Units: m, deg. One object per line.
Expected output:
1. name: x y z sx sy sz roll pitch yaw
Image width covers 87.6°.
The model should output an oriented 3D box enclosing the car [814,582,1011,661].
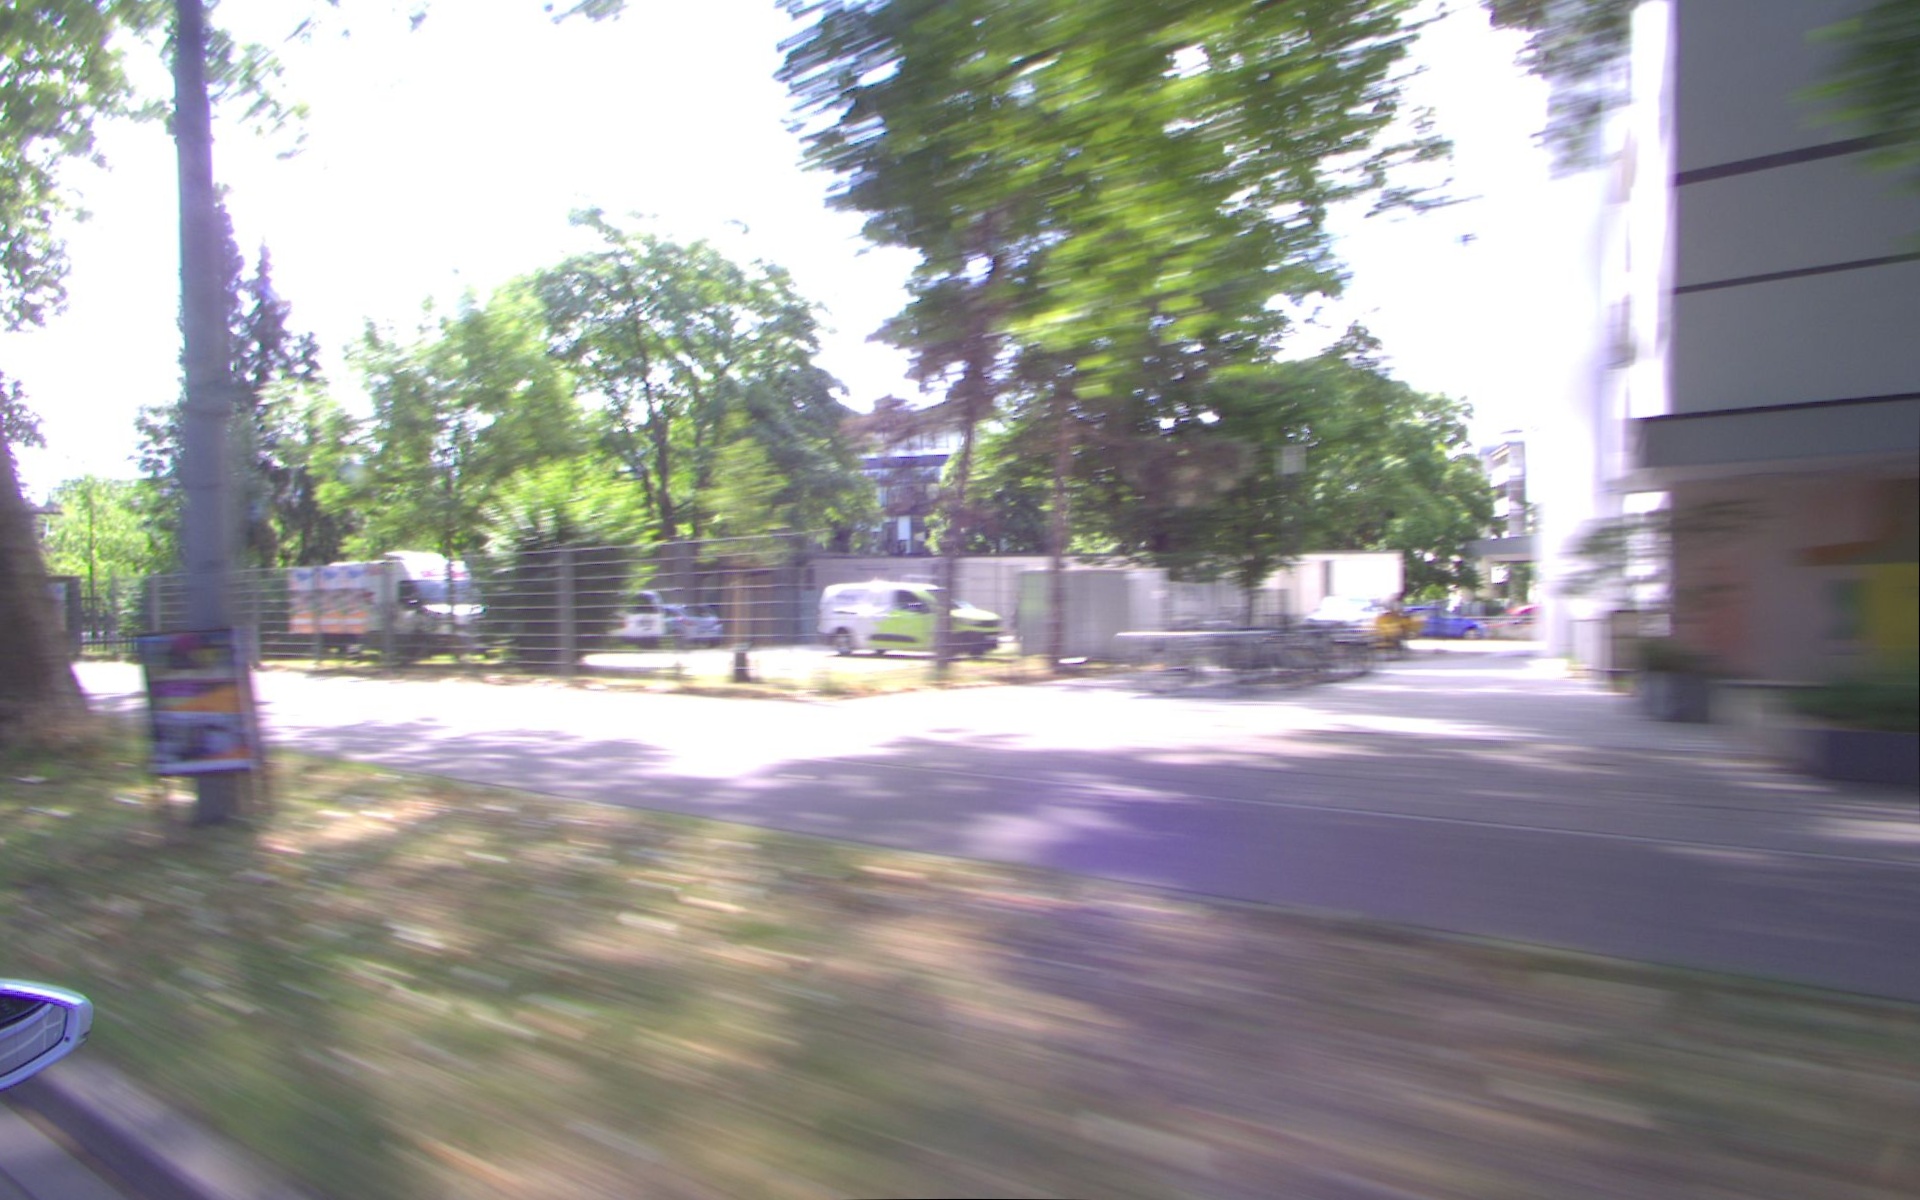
1. car: -1.227 0.526 24.706 4.702 1.778 1.734 -1 -1 31

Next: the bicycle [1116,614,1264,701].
1. bicycle: 3.013 0.728 13.128 1.809 1.087 0.605 0 0 24

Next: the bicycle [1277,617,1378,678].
1. bicycle: 6.736 0.857 18.361 1.699 1.079 0.515 0 0 27

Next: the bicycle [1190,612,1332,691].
1. bicycle: 4.356 0.729 14.553 1.925 1.099 0.515 0 0 27

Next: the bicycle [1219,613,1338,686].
1. bicycle: 4.902 0.751 15.445 1.699 1.079 0.515 0 0 27

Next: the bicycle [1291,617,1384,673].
1. bicycle: 7.540 0.881 19.996 1.699 1.079 0.515 0 0 27

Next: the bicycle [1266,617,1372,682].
1. bicycle: 6.244 0.844 17.452 1.699 1.079 0.515 0 0 27

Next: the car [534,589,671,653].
1. car: -10.982 0.650 30.661 4.280 1.838 1.802 -1 -1 35

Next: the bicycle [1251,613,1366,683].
1. bicycle: 5.629 0.759 16.202 1.699 1.079 0.515 0 0 27

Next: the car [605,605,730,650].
1. car: -9.648 0.888 32.995 3.990 1.420 1.803 -1 -1 33

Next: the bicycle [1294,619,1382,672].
1. bicycle: 7.941 0.939 21.059 1.699 1.079 0.515 0 0 27

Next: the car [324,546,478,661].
1. car: -14.817 0.117 26.502 4.218 2.811 1.803 -1 0 33

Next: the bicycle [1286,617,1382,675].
1. bicycle: 7.160 0.869 19.194 1.699 1.079 0.515 0 0 27

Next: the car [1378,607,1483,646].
1. car: 20.693 1.156 44.134 3.851 1.653 1.709 0 0 6

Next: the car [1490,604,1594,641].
1. car: 27.228 1.046 46.933 3.851 1.653 1.709 0 0 6
